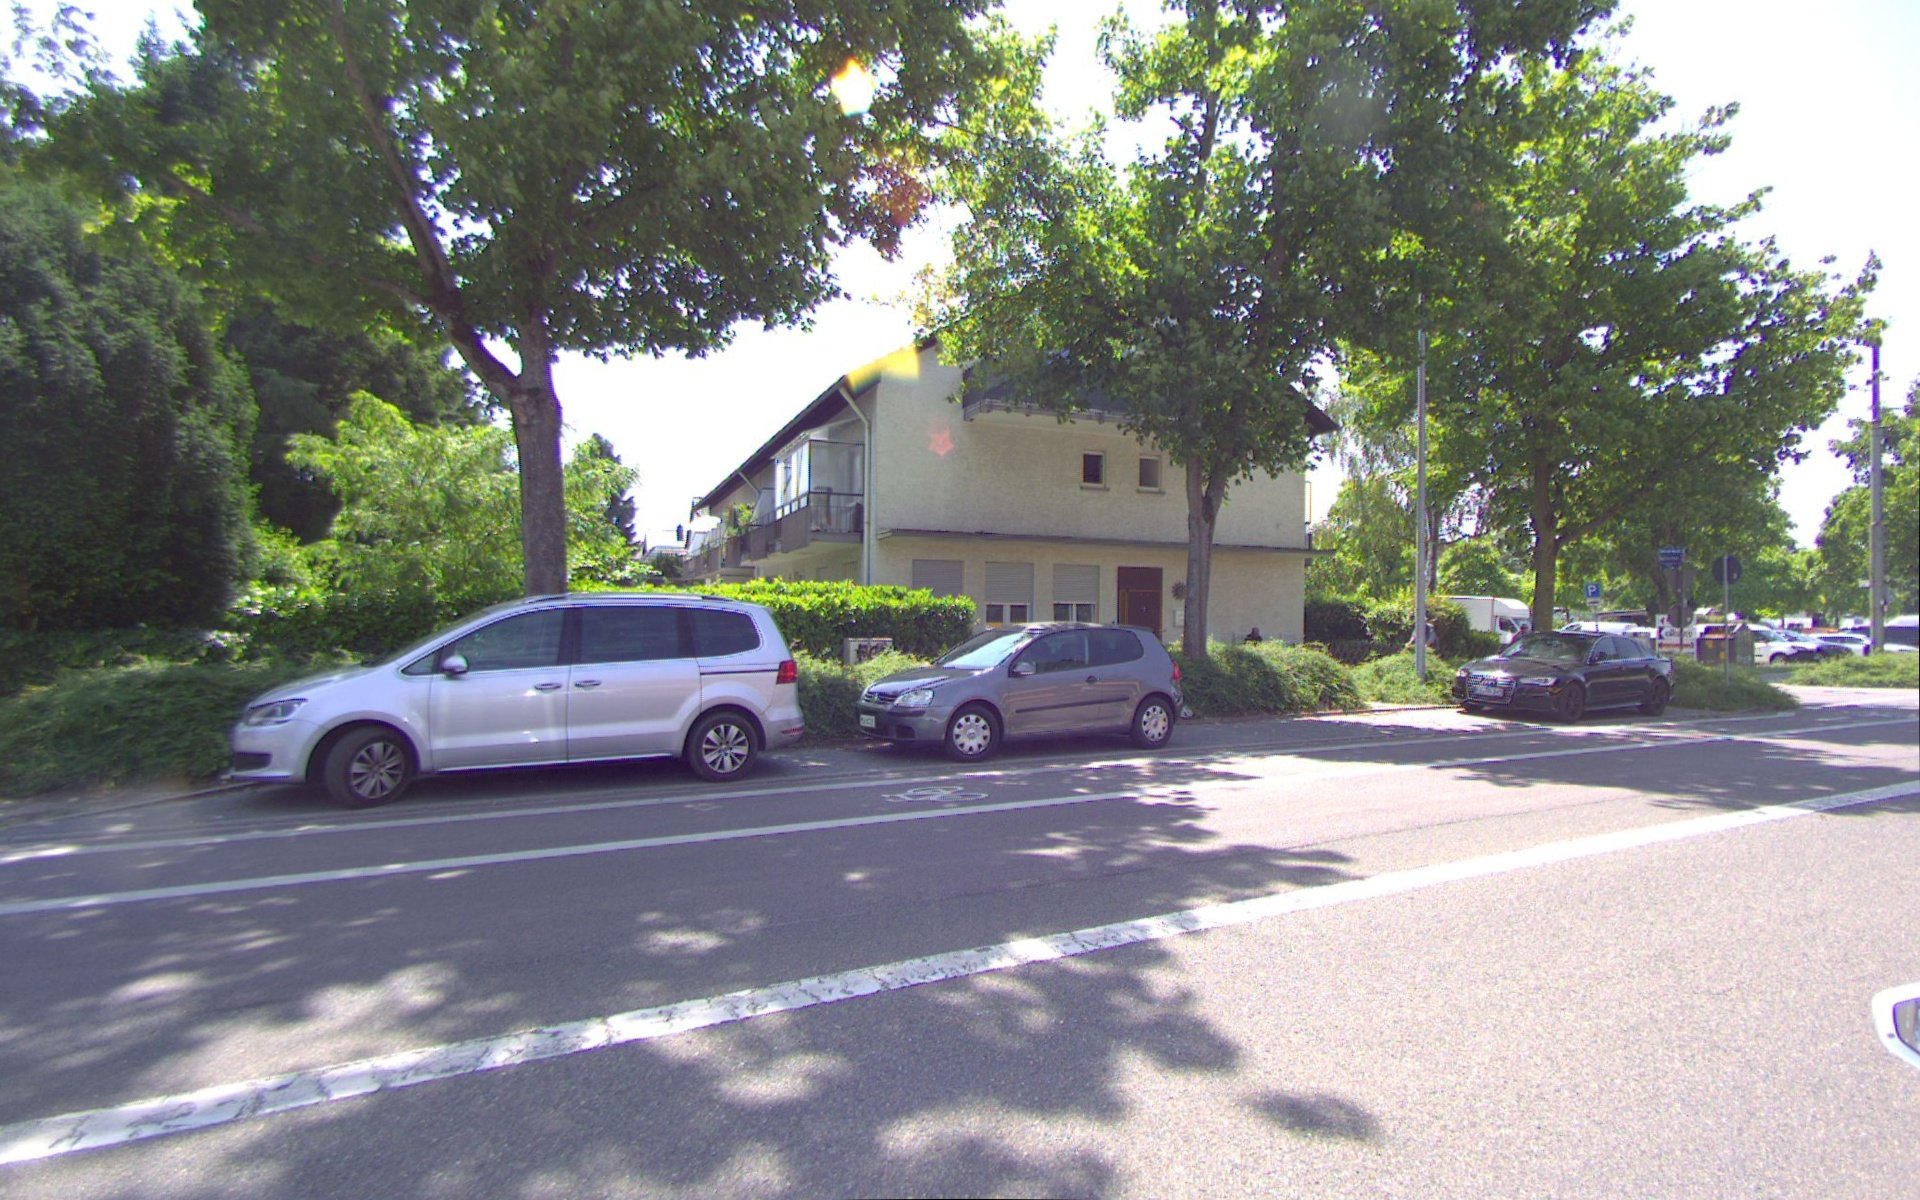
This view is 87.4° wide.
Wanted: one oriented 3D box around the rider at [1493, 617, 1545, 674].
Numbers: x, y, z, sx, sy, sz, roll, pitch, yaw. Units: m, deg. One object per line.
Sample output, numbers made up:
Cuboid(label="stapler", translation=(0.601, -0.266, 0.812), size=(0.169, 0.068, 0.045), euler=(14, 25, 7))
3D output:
Cuboid(label="rider", translation=(14.345, 1.154, 25.796), size=(0.817, 1.378, 0.806), euler=(1, 2, -27))

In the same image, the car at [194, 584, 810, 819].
Cuboid(label="car", translation=(-3.937, 0.757, 9.249), size=(4.725, 1.687, 1.863), euler=(1, 0, -31))

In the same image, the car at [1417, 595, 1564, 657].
Cuboid(label="car", translation=(28.780, 1.360, 54.802), size=(2.337, 3.005, 6.816), euler=(2, 1, -30))

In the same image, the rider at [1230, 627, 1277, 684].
Cuboid(label="rider", translation=(7.389, 1.384, 25.273), size=(0.800, 1.392, 0.824), euler=(1, -1, -22))

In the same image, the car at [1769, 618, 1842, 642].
Cuboid(label="car", translation=(66.354, 2.371, 78.871), size=(1.795, 1.638, 4.000), euler=(2, 1, -30))

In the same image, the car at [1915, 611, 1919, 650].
Cuboid(label="car", translation=(58.880, 1.907, 57.851), size=(2.349, 2.274, 5.076), euler=(2, 1, -28))

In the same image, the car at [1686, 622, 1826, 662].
Cuboid(label="car", translation=(33.876, 1.755, 42.906), size=(1.886, 1.606, 4.332), euler=(1, -1, -24))

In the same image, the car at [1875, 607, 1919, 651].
Cuboid(label="car", translation=(52.257, 1.631, 53.216), size=(2.349, 2.274, 5.076), euler=(2, 1, -28))

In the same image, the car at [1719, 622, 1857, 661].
Cuboid(label="car", translation=(36.366, 1.804, 44.229), size=(1.886, 1.606, 4.333), euler=(1, -1, -23))

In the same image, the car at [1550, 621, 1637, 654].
Cuboid(label="car", translation=(37.450, 2.190, 59.439), size=(1.799, 1.675, 3.957), euler=(2, 1, -37))

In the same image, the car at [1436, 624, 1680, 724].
Cuboid(label="car", translation=(10.581, 1.217, 17.712), size=(4.397, 1.496, 1.809), euler=(1, 1, -31))

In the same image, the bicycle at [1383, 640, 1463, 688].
Cuboid(label="bicycle", translation=(10.856, 1.503, 23.533), size=(1.805, 1.043, 0.698), euler=(2, 1, -27))

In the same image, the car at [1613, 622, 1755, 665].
Cuboid(label="car", translation=(29.390, 1.732, 40.903), size=(1.891, 1.606, 4.321), euler=(1, -1, -31))

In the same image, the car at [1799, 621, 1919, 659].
Cuboid(label="car", translation=(43.187, 1.888, 48.292), size=(1.975, 1.769, 3.968), euler=(1, -1, -30))

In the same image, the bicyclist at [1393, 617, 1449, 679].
Cuboid(label="bicyclist", translation=(10.785, 1.109, 23.493), size=(0.817, 1.392, 0.806), euler=(2, 1, -27))

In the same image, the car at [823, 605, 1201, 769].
Cuboid(label="car", translation=(0.665, 0.908, 11.855), size=(4.132, 1.585, 1.809), euler=(1, 1, -31))

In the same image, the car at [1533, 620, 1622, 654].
Cuboid(label="car", translation=(35.568, 2.121, 57.924), size=(1.799, 1.675, 3.957), euler=(2, 1, -37))
